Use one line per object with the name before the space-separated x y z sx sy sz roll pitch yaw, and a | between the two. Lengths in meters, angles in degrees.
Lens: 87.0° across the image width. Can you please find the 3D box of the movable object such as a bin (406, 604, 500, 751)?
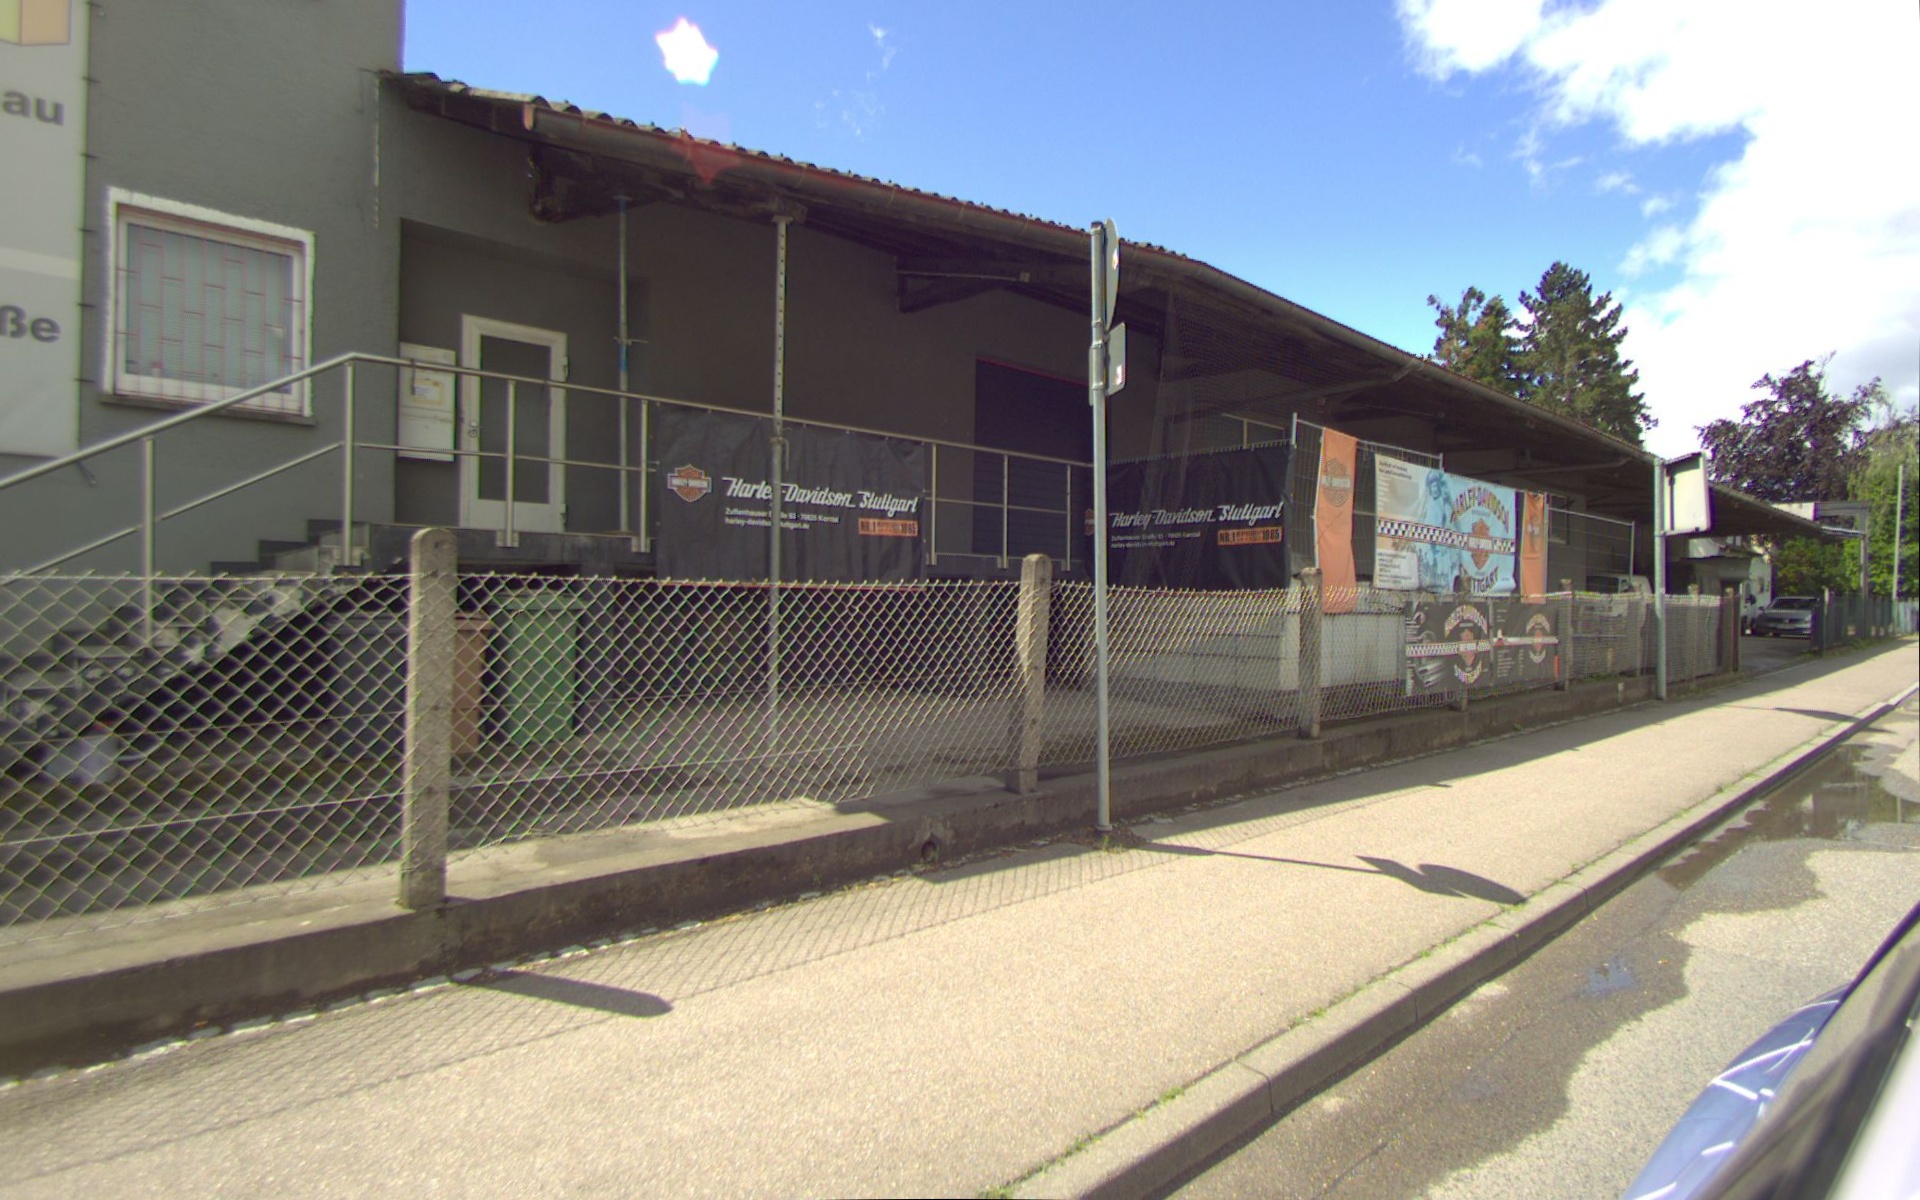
movable object such as a bin | -3.438 0.500 6.860 0.466 0.942 0.482 0 0 -42

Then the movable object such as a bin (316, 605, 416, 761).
movable object such as a bin | -3.821 0.505 6.510 0.466 0.942 0.482 0 0 -42

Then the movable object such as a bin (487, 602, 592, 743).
movable object such as a bin | -3.013 0.494 7.251 0.574 0.942 0.482 0 0 -42

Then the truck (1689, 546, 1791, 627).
truck | 29.515 -0.519 38.229 5.112 2.864 2.089 -1 0 -41

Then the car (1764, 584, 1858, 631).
car | 29.862 0.221 35.440 5.114 1.549 1.860 -1 1 -42
